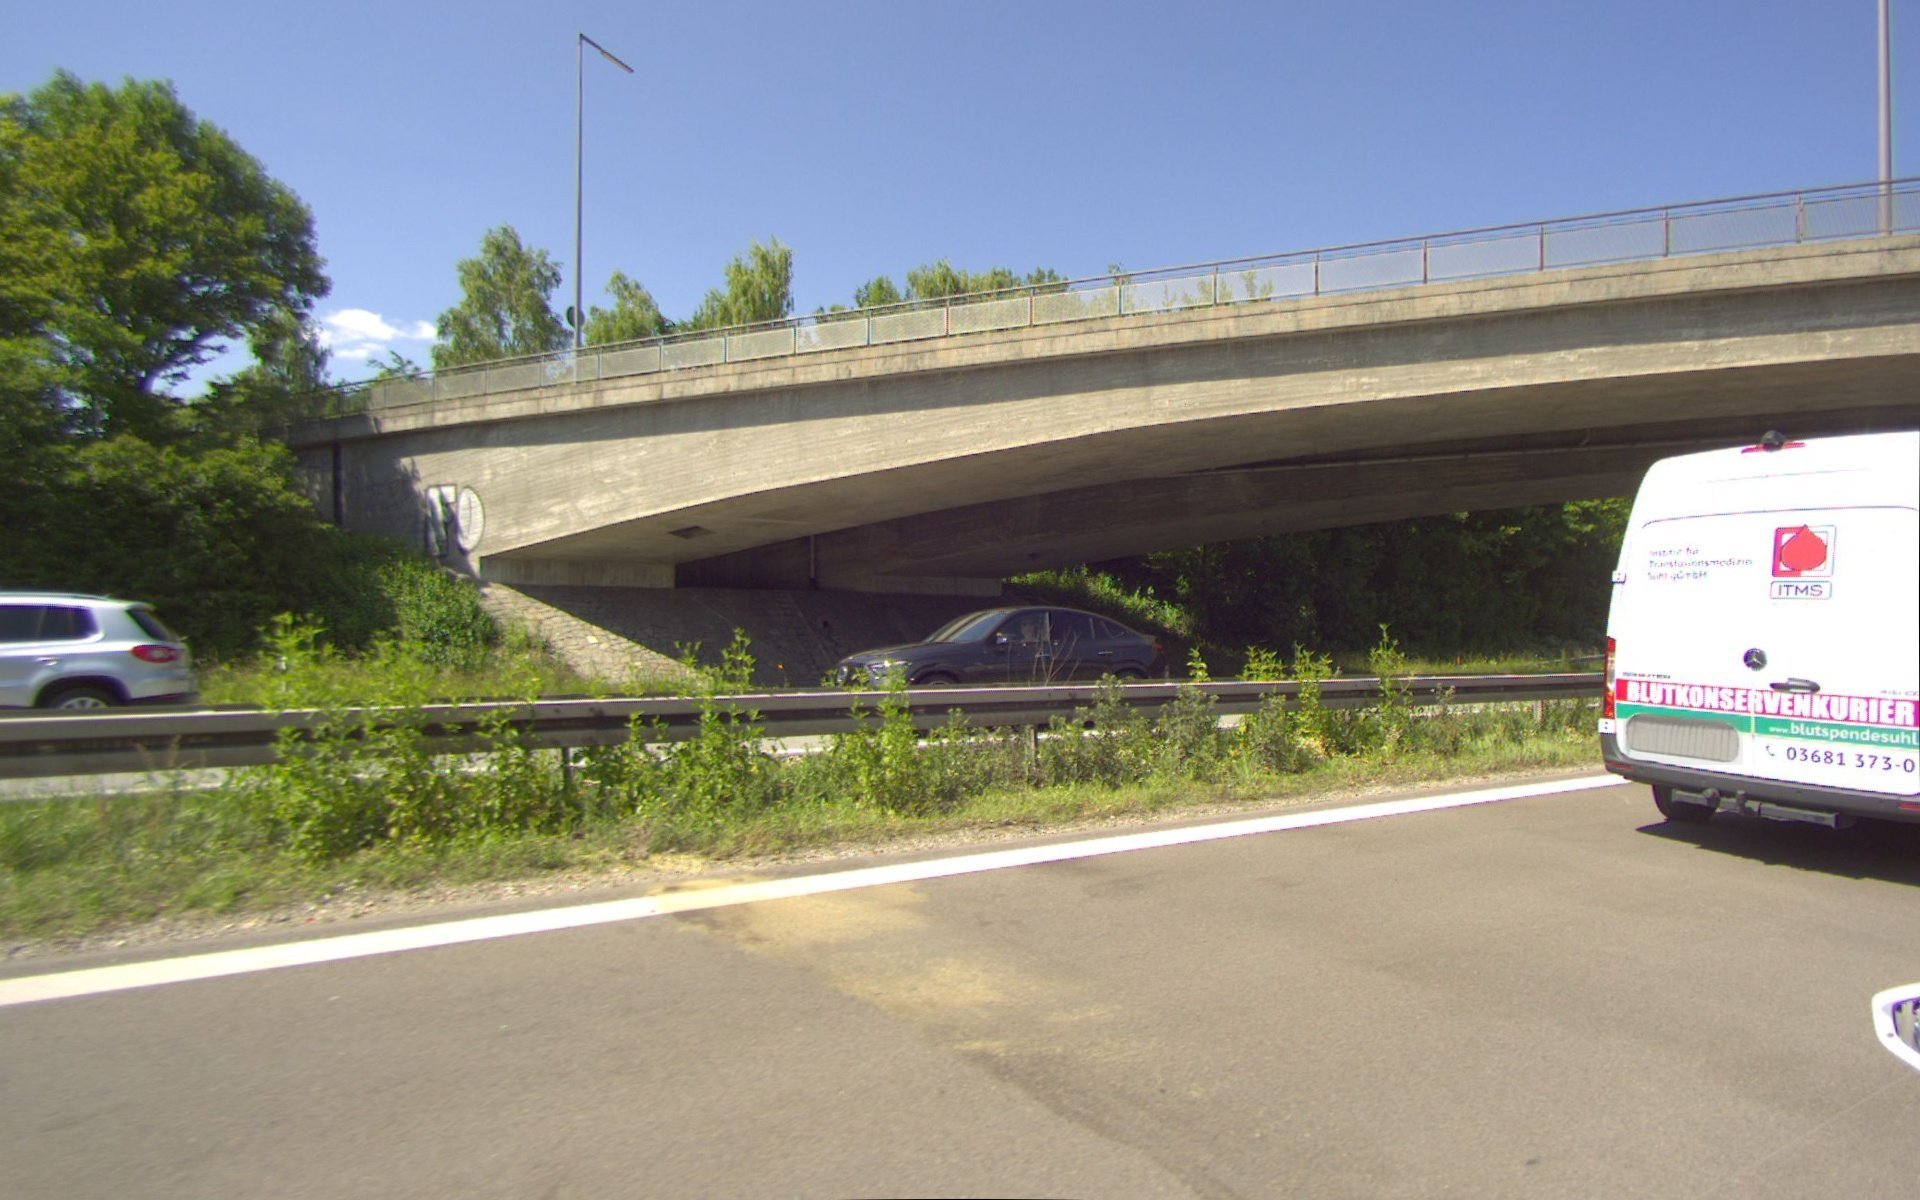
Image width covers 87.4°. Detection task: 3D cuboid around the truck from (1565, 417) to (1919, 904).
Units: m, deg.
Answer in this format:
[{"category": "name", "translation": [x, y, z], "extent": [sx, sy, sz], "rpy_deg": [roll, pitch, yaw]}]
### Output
[{"category": "truck", "translation": [7.524, 0.369, 7.734], "extent": [6.614, 2.576, 1.984], "rpy_deg": [1, 0, -31]}]

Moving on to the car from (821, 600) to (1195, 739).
[{"category": "car", "translation": [0.708, 0.837, 13.214], "extent": [4.696, 1.547, 1.851], "rpy_deg": [1, -1, -31]}]
